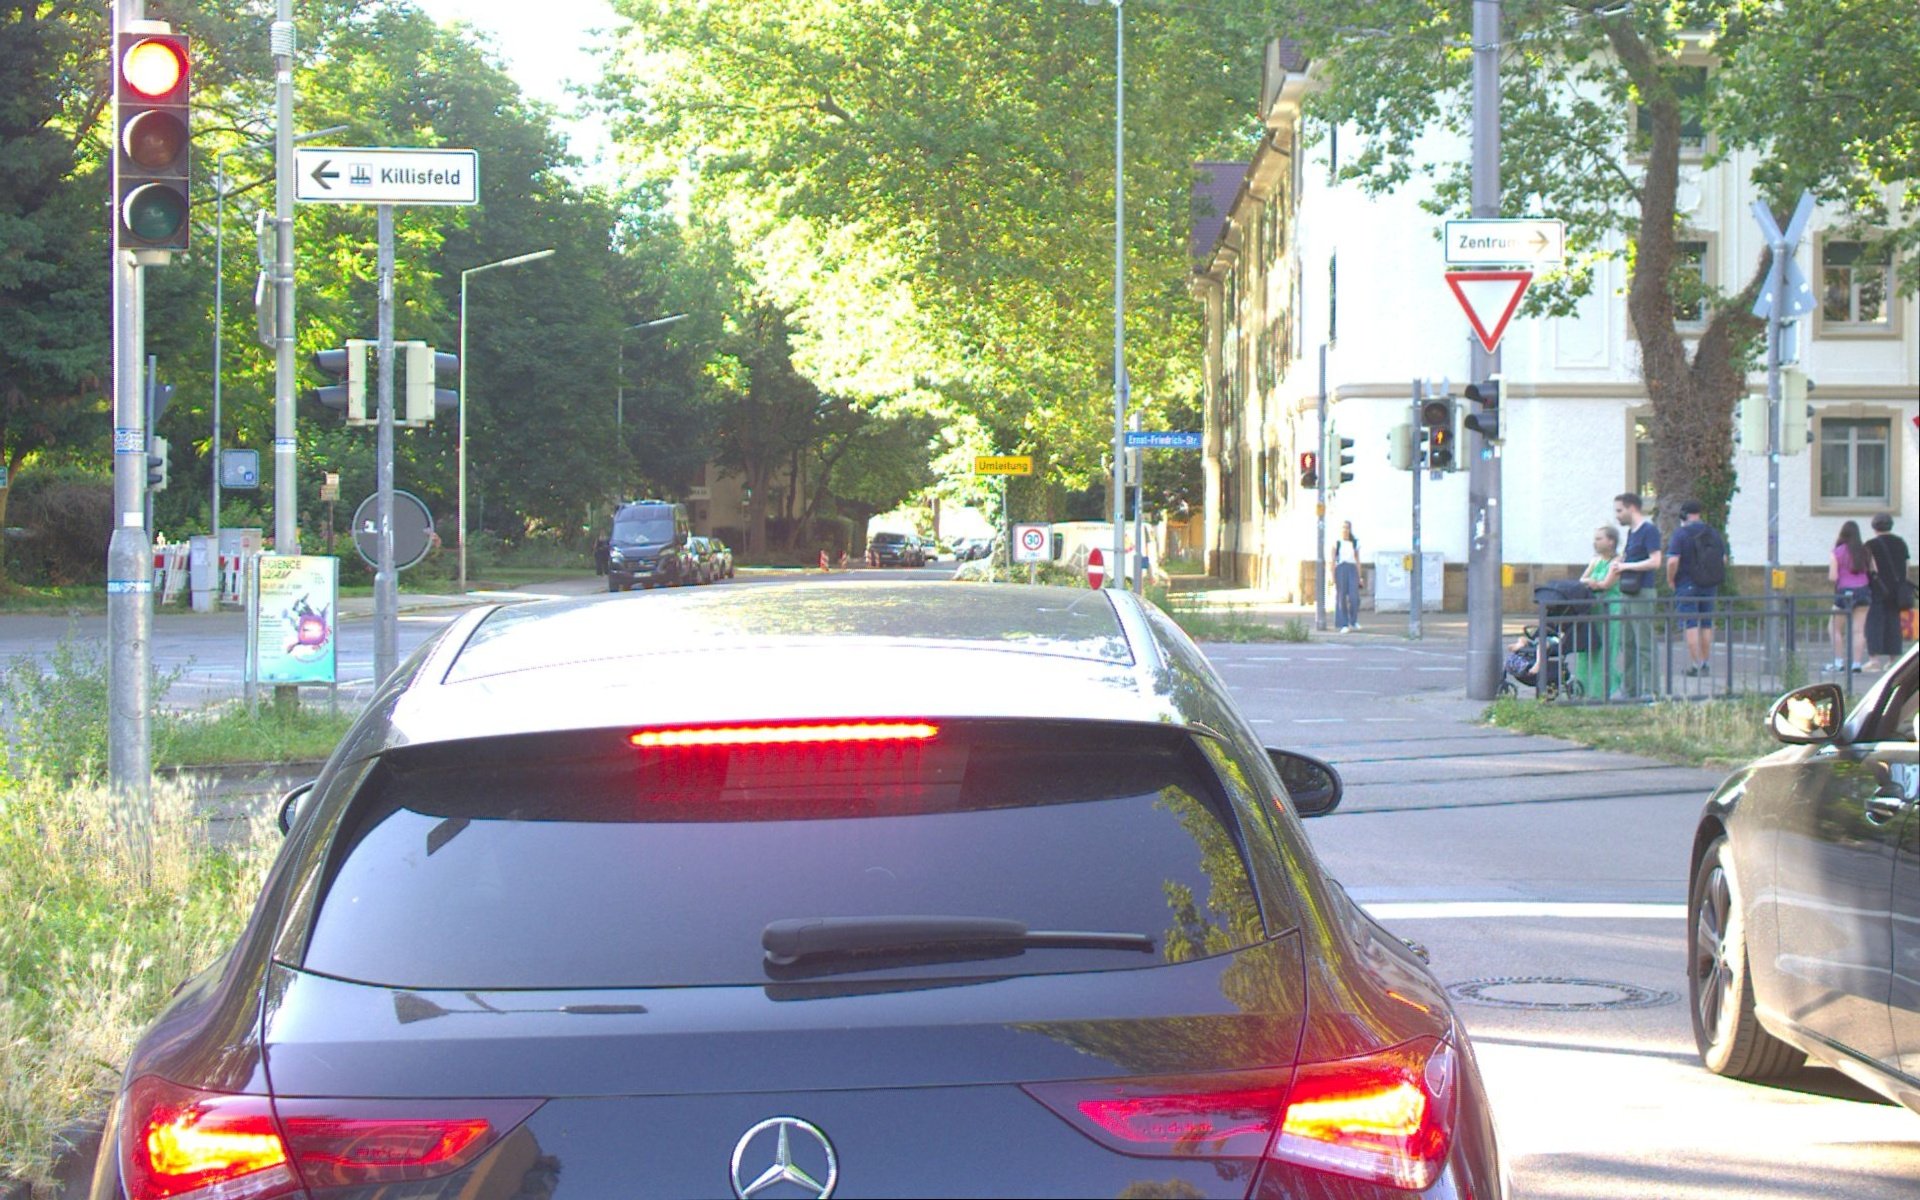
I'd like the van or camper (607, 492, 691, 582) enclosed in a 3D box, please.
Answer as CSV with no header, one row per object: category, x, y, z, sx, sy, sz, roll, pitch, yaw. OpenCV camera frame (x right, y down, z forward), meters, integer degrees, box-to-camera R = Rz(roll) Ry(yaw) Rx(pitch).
van or camper,-8.997,-1.803,99.738,1.993,2.532,4.651,1,1,0

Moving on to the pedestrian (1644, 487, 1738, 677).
pedestrian,7.484,-0.186,35.216,0.705,1.911,0.839,1,0,-4

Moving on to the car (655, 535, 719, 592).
car,-8.695,-1.156,109.760,1.733,1.759,4.342,1,1,-1

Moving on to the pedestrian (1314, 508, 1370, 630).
pedestrian,6.050,-0.494,54.480,0.705,1.911,0.839,1,0,-4

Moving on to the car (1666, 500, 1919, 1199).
car,2.892,0.596,7.280,1.889,1.485,4.382,1,3,0

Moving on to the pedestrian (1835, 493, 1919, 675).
pedestrian,9.829,-0.176,36.670,0.705,1.911,0.839,1,0,-4

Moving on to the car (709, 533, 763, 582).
car,-8.230,-1.566,126.404,1.733,1.759,3.971,1,1,-1

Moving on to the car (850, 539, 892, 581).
car,-3.881,-1.748,150.384,1.733,1.759,4.019,1,1,-1

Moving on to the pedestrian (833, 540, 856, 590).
pedestrian,-4.370,-1.324,130.027,0.705,1.911,0.839,1,0,-10

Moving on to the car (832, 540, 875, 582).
car,-4.485,-1.647,145.563,1.733,1.759,4.019,1,1,-1

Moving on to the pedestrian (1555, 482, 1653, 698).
pedestrian,5.781,-0.093,30.891,0.682,1.911,0.707,1,0,-4

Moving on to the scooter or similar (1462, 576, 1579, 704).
scooter or similar,4.963,0.348,30.493,0.828,1.101,0.809,1,0,-6

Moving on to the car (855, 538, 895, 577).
car,-3.903,-1.971,158.466,1.733,1.759,4.019,1,1,-1

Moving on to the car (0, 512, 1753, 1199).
car,-0.159,0.652,5.380,1.889,1.445,4.001,1,3,1

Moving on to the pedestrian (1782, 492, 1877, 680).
pedestrian,9.019,-0.148,35.670,0.705,1.911,0.839,1,0,-4

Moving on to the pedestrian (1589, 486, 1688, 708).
pedestrian,5.938,-0.030,30.120,0.682,1.911,0.707,1,0,-2
